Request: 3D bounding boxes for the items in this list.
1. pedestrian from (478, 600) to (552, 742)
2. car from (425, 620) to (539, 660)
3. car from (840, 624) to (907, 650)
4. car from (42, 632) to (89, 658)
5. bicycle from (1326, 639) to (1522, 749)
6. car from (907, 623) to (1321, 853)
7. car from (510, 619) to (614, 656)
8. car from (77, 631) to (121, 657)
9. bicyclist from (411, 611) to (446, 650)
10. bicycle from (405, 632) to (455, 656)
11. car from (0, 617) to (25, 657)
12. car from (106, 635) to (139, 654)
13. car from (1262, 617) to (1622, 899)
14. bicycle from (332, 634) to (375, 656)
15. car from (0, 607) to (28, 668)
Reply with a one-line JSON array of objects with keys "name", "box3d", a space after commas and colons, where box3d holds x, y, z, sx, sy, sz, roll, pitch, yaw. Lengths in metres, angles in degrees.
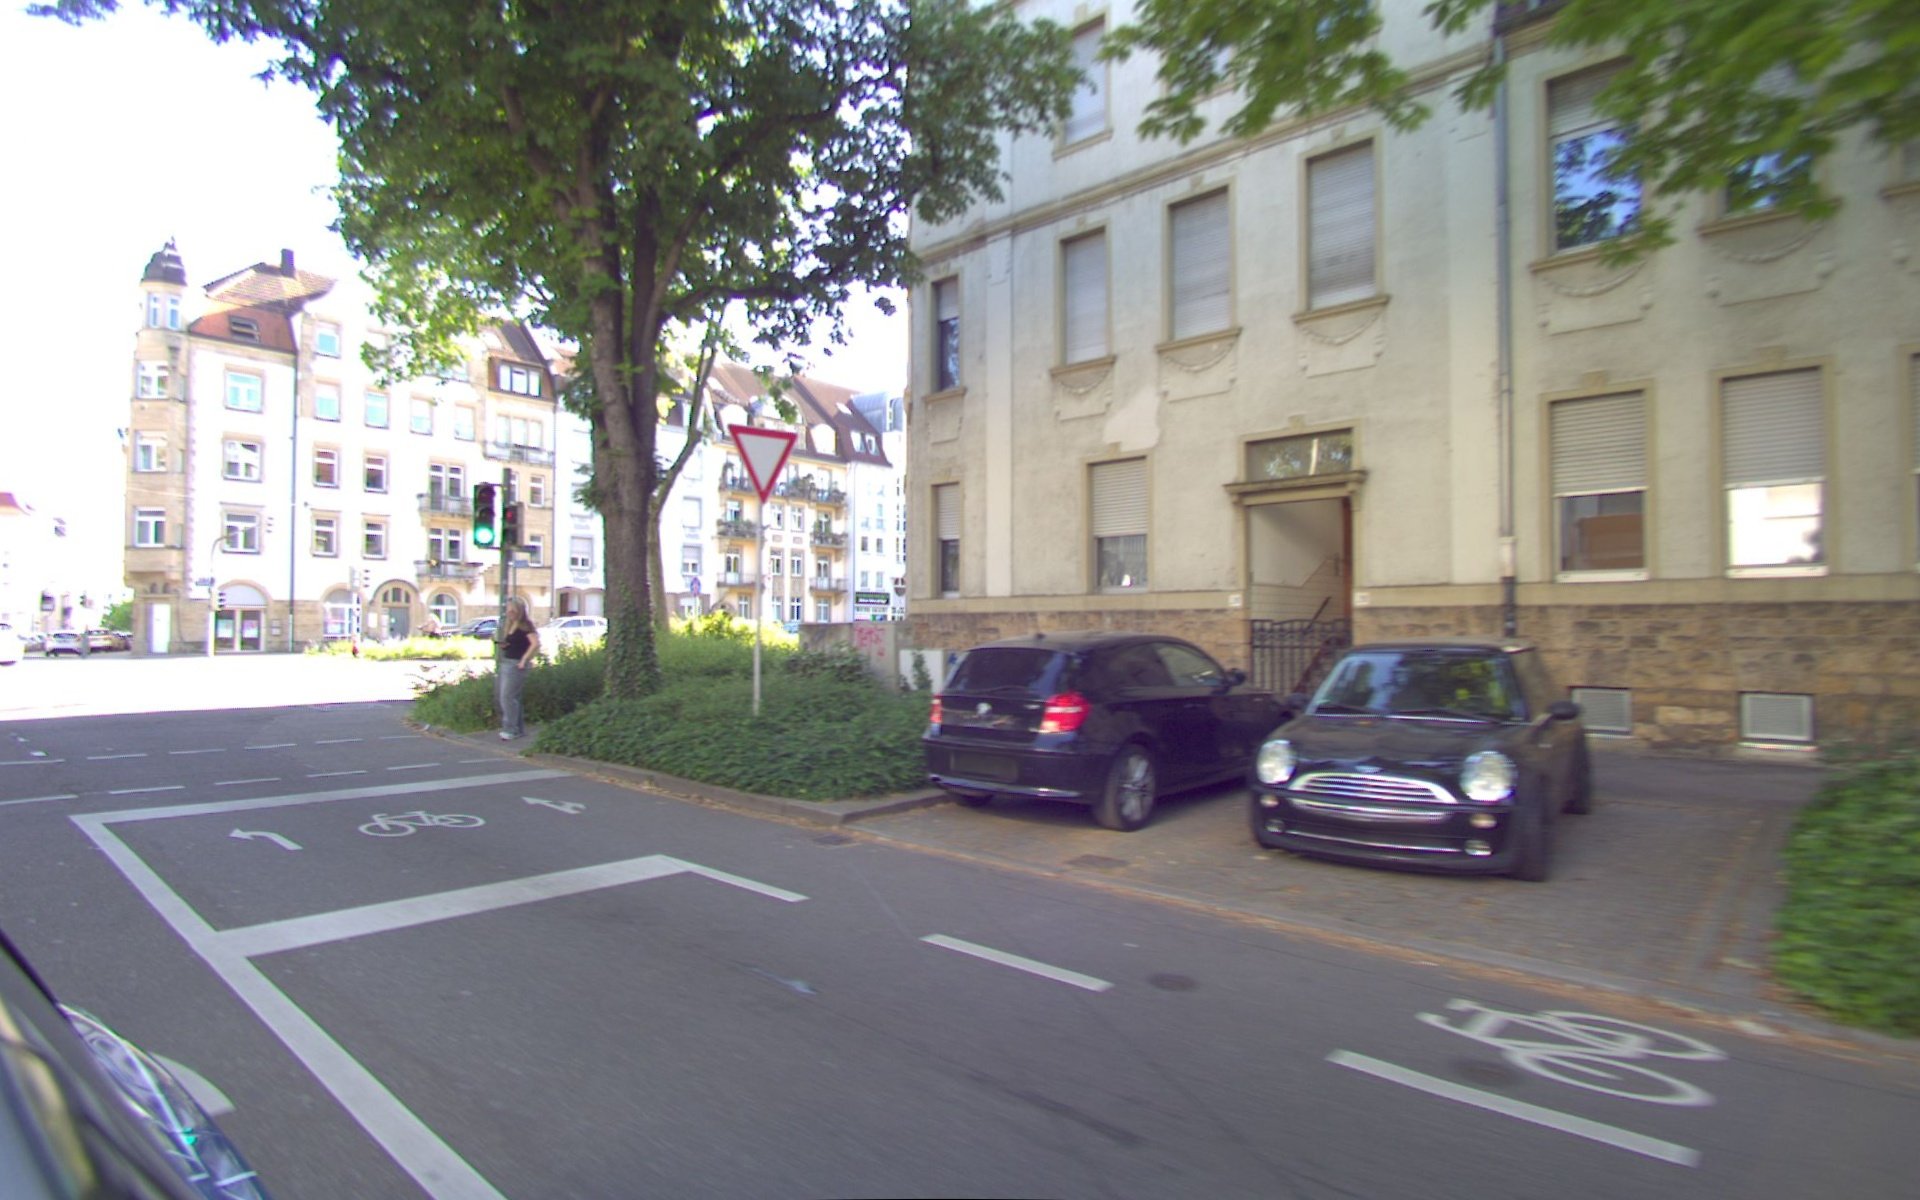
[{"name": "pedestrian", "box3d": [-5.512, 0.857, 12.530, 0.684, 1.695, 0.681, 2, -2, -37]}, {"name": "car", "box3d": [-21.356, 1.785, 45.313, 1.999, 1.657, 4.182, -4, -4, 41]}, {"name": "car", "box3d": [-5.432, 2.325, 64.189, 1.818, 1.603, 4.189, -1, -2, 40]}, {"name": "car", "box3d": [-51.961, 2.632, 58.824, 1.531, 1.422, 3.580, 4, -4, -34]}, {"name": "bicycle", "box3d": [5.365, 1.055, 11.808, 1.982, 1.163, 0.508, -3, -1, 43]}, {"name": "car", "box3d": [1.487, 0.978, 8.543, 1.615, 1.487, 3.840, -1, -3, 42]}, {"name": "car", "box3d": [-17.761, 1.676, 45.260, 1.765, 1.541, 3.964, -2, -3, 41]}, {"name": "car", "box3d": [-60.450, 3.080, 71.139, 1.887, 1.671, 4.357, -3, 0, -35]}, {"name": "bicyclist", "box3d": [-21.512, 1.250, 40.944, 0.687, 1.554, 1.060, -2, -3, 41]}, {"name": "bicycle", "box3d": [-21.457, 1.781, 40.985, 0.794, 0.932, 1.614, -3, -3, 41]}, {"name": "car", "box3d": [-36.231, 1.366, 37.808, 3.809, 1.475, 1.642, -1, -2, 43]}, {"name": "car", "box3d": [-75.899, 4.028, 91.732, 1.887, 1.529, 4.357, -3, 0, -35]}, {"name": "car", "box3d": [3.601, 0.858, 7.170, 1.612, 1.426, 3.847, -1, -2, 36]}, {"name": "bicycle", "box3d": [-31.317, 2.316, 52.276, 0.610, 1.142, 1.786, -2, -3, 40]}, {"name": "car", "box3d": [-26.409, 0.966, 26.037, 3.572, 1.580, 1.649, 0, -2, 7]}]
